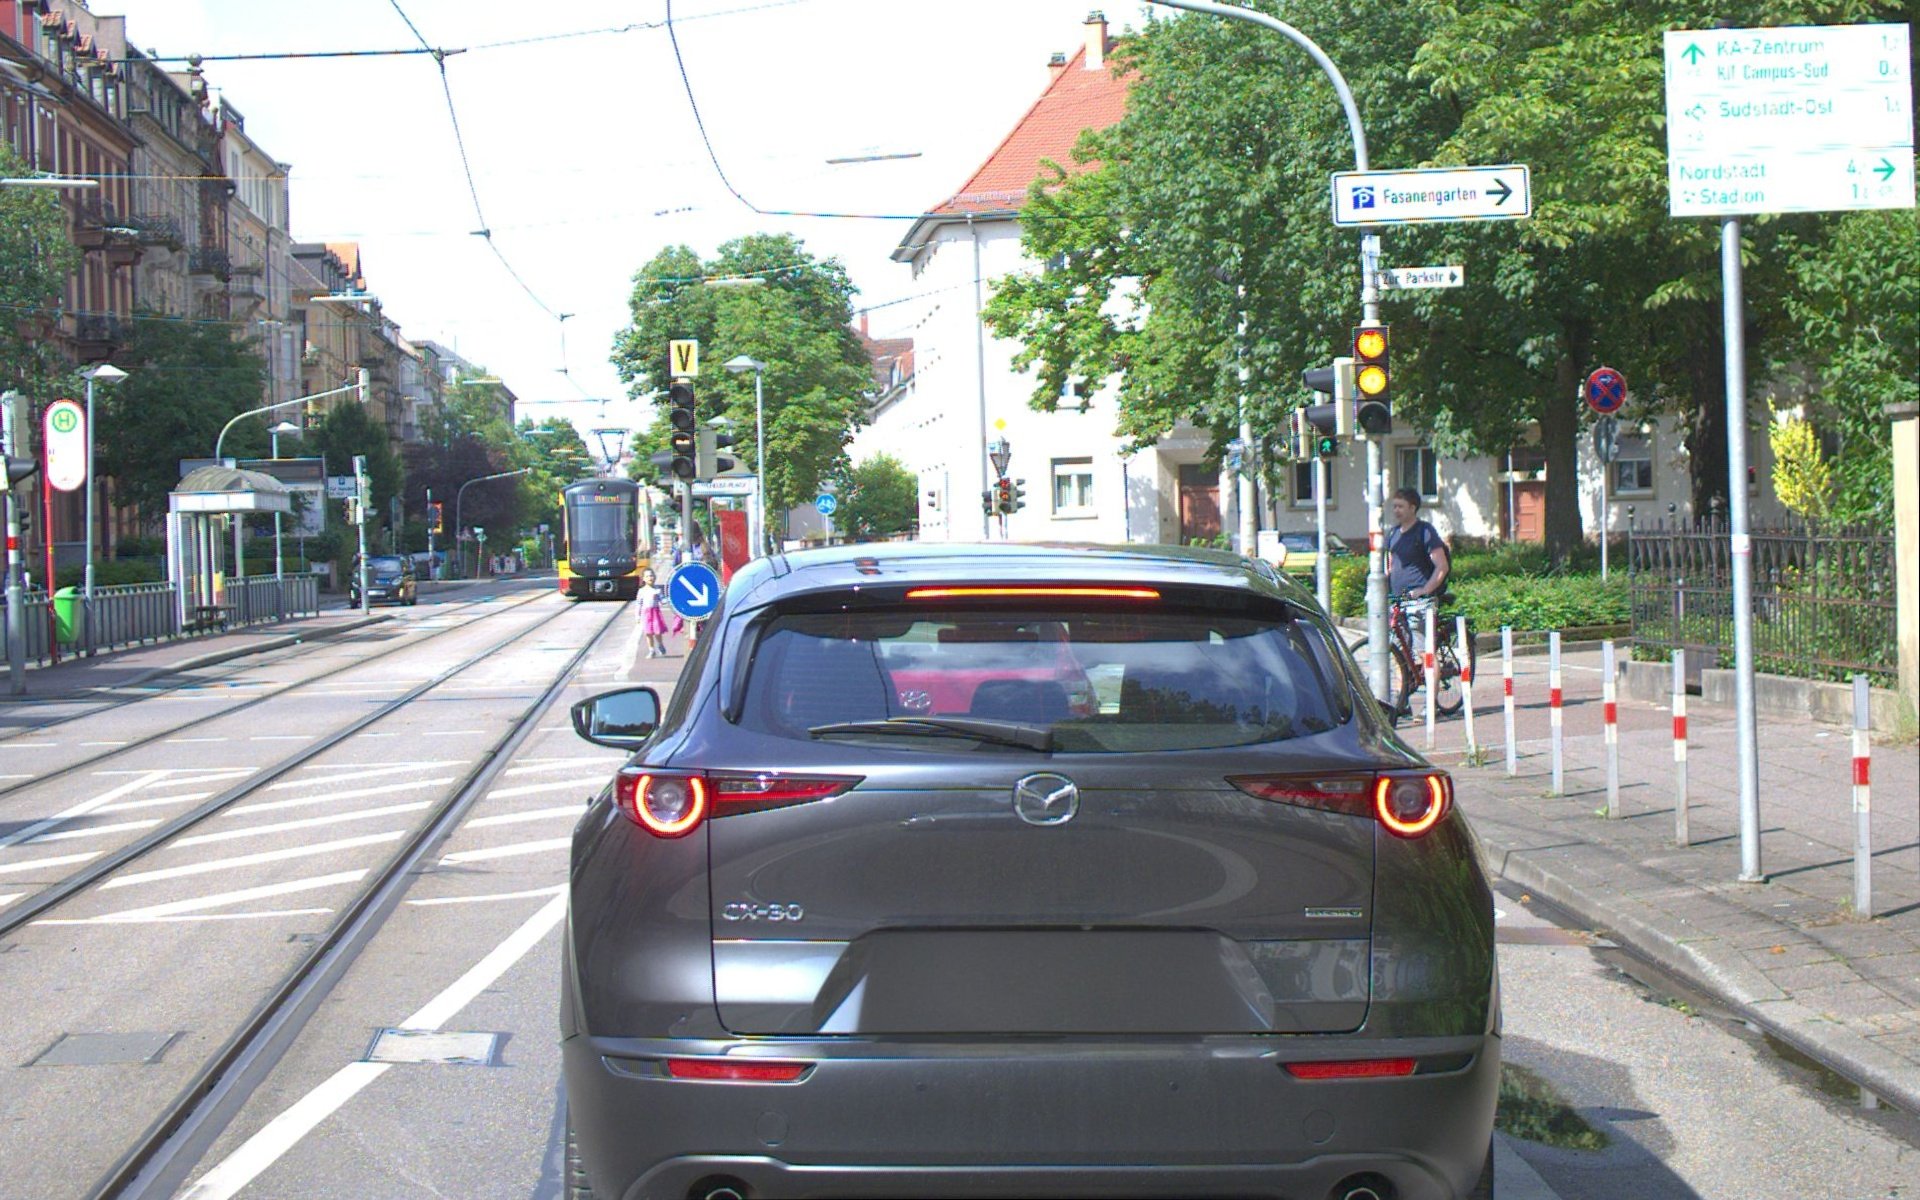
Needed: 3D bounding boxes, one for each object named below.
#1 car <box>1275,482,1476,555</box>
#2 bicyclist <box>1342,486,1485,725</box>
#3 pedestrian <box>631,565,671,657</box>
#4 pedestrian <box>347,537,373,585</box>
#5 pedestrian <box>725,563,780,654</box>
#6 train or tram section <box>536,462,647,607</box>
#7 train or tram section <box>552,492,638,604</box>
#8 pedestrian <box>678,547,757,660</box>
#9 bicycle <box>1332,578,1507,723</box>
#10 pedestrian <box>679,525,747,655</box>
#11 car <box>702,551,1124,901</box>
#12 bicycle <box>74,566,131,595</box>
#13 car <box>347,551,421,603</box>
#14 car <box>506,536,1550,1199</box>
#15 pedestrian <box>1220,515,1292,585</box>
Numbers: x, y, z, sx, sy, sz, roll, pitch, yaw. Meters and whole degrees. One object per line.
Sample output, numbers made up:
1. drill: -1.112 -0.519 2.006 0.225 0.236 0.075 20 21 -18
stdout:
1. car: 9.500 -1.863 78.762 4.167 1.504 1.848 0 3 38
2. bicyclist: 3.537 0.035 26.853 0.733 1.813 0.820 -2 1 -27
3. pedestrian: -3.821 0.132 42.506 0.422 1.104 0.439 -4 1 -6
4. pedestrian: -21.431 -1.406 122.791 0.788 1.682 0.732 -1 1 -3
5. pedestrian: -2.588 0.098 42.886 0.443 1.110 0.642 -1 1 21
6. train or tram section: -11.037 -1.848 103.234 2.997 3.970 13.811 -2 0 -6
7. train or tram section: -13.855 -1.875 130.632 2.997 3.970 13.811 -2 0 -6
8. pedestrian: -2.919 0.038 41.458 0.825 1.299 0.717 -4 1 0
9. bicycle: 3.617 0.380 26.950 0.389 1.032 1.841 -1 2 40
10. pedestrian: -3.042 -0.130 42.292 0.728 1.560 0.799 -2 1 -9
11. car: -0.311 0.506 16.418 1.775 1.459 3.843 0 1 -3
12. bicycle: -23.518 -0.547 94.272 0.386 0.745 1.708 -1 1 32
13. car: -16.623 -0.686 99.328 1.624 1.382 3.436 -3 1 -3
14. car: 0.104 0.632 7.920 1.782 1.509 4.000 1 1 0
15. pedestrian: 5.661 -0.957 65.796 1.192 1.264 0.558 -4 1 -9
